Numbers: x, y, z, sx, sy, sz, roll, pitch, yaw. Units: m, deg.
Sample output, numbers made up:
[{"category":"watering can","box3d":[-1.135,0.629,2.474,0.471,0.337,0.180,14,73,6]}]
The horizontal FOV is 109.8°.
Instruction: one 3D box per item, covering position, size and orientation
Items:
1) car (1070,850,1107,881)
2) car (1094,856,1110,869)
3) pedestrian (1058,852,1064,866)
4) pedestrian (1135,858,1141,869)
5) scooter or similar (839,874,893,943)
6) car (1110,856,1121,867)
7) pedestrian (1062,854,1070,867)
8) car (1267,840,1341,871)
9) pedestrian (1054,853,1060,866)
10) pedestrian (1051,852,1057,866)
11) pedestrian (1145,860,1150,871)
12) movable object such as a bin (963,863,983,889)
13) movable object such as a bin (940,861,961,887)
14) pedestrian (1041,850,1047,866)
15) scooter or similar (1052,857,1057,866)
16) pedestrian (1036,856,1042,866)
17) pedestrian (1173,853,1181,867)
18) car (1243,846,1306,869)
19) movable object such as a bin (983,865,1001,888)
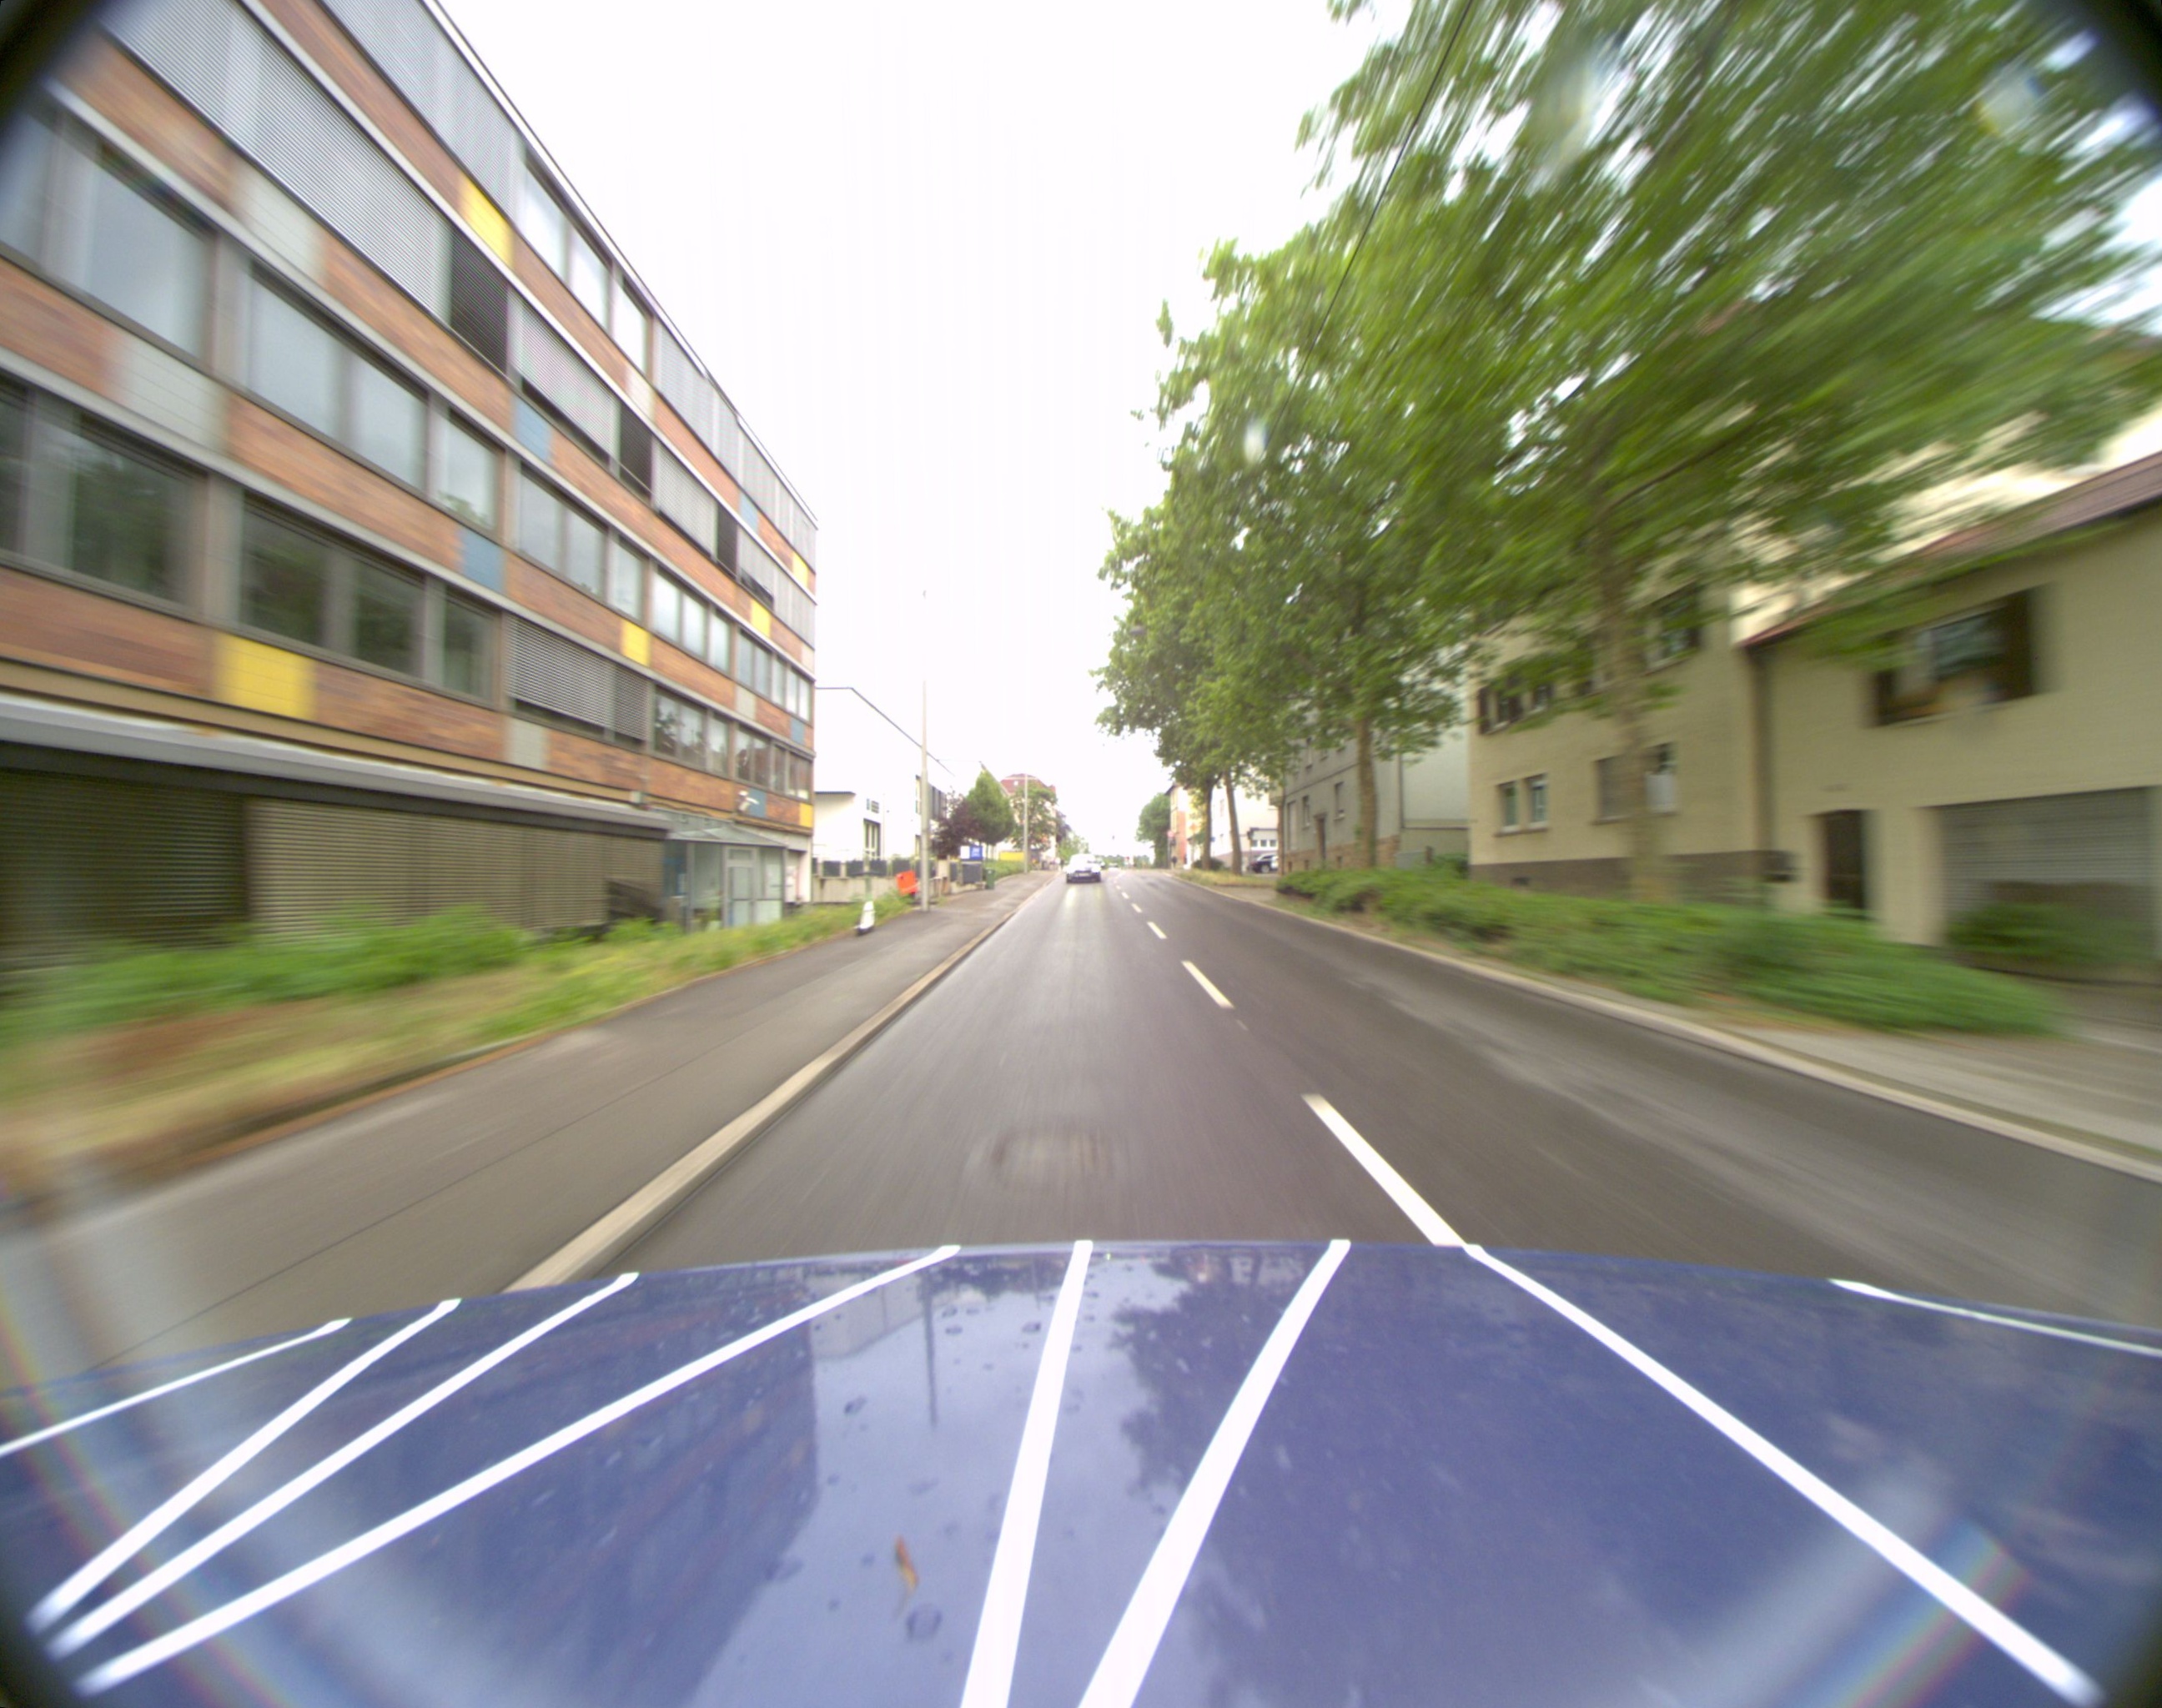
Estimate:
[{"category":"car","box3d":[0.444,0.648,40.273,1.837,1.429,4.002,-1,-3,2]},{"category":"car","box3d":[2.504,0.954,89.031,1.837,1.429,4.000,0,0,3]},{"category":"pedestrian","box3d":[-2.558,0.643,97.140,0.634,1.864,0.487,2,-1,-33]},{"category":"pedestrian","box3d":[10.115,1.709,134.616,0.864,1.871,1.044,0,-2,-1]},{"category":"scooter or similar","box3d":[-3.982,0.977,14.176,0.607,1.155,1.699,0,1,-4]},{"category":"car","box3d":[6.503,1.403,141.902,1.886,1.859,4.453,-3,0,1]},{"category":"pedestrian","box3d":[-1.960,0.805,97.440,0.637,1.700,0.747,2,-1,-33]},{"category":"car","box3d":[14.595,0.102,49.893,4.193,1.694,2.000,-4,0,1]},{"category":"pedestrian","box3d":[-3.092,0.703,96.733,0.446,1.698,0.559,2,-1,37]},{"category":"pedestrian","box3d":[-3.311,0.669,93.860,0.662,1.731,0.829,1,-1,-4]},{"category":"pedestrian","box3d":[11.591,2.053,133.089,0.808,1.810,1.117,-1,-3,1]},{"category":"movable object such as a bin","box3d":[-4.669,0.958,32.935,0.696,1.076,0.778,2,0,2]},{"category":"movable object such as a bin","box3d":[-5.647,0.842,32.901,0.696,1.076,0.778,2,0,2]},{"category":"pedestrian","box3d":[-4.228,0.500,87.038,0.648,1.820,0.741,1,0,-4]},{"category":"scooter or similar","box3d":[-3.287,0.945,93.229,0.619,1.133,0.567,1,0,-4]},{"category":"pedestrian","box3d":[-5.000,0.842,91.163,0.662,1.192,0.741,1,-1,-4]},{"category":"pedestrian","box3d":[11.188,0.692,88.667,0.817,1.669,0.993,-2,0,-1]},{"category":"car","box3d":[14.067,0.287,55.405,3.997,1.389,2.000,-4,0,0]},{"category":"movable object such as a bin","box3d":[-3.876,0.976,33.078,0.621,0.931,0.686,2,0,2]}]
